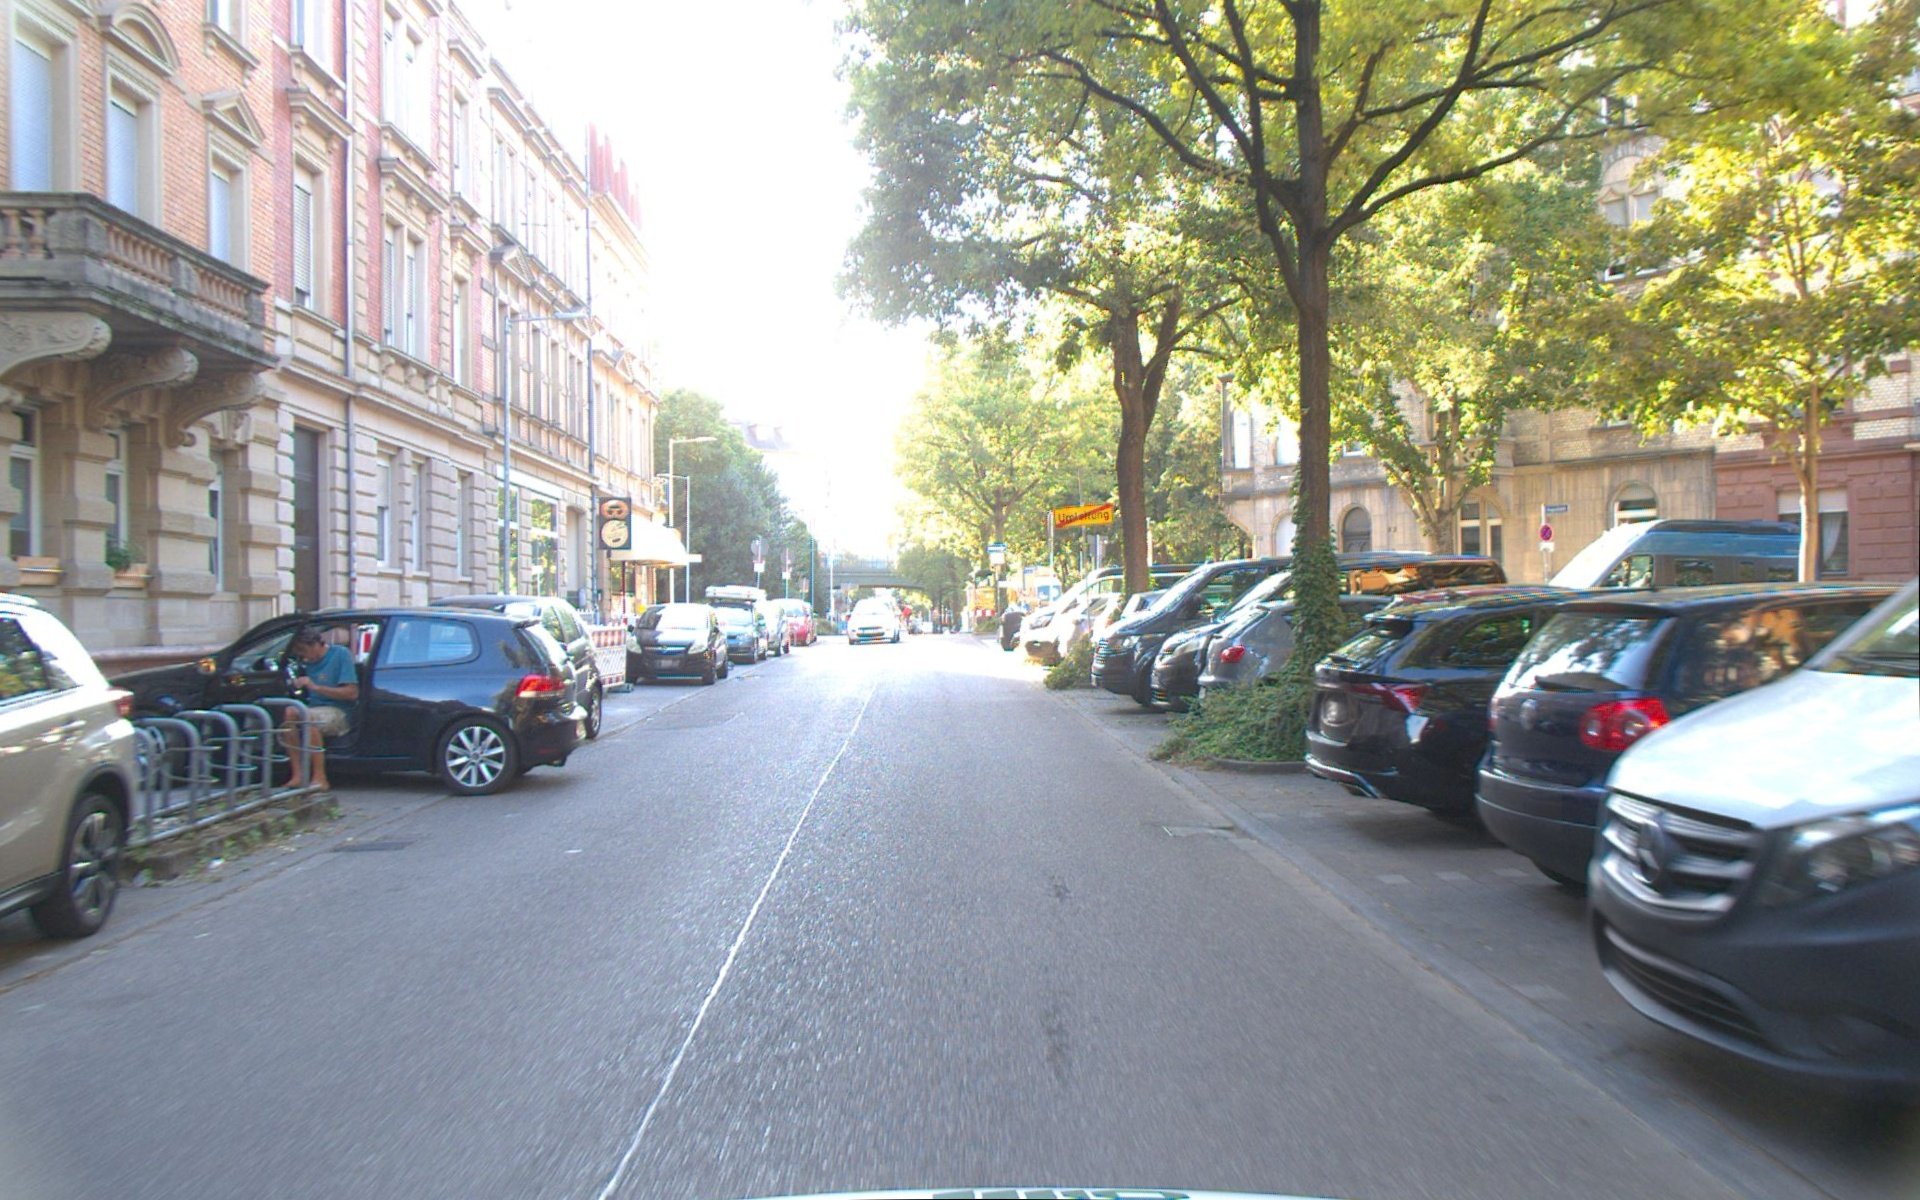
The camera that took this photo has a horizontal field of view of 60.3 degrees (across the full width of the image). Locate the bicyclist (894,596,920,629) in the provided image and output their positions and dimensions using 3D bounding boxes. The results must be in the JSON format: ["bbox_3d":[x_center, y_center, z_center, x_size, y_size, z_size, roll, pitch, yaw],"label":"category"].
[{"bbox_3d":[-2.250,0.523,70.045,0.791,1.407,0.979,0,0,-21],"label":"bicyclist"}]

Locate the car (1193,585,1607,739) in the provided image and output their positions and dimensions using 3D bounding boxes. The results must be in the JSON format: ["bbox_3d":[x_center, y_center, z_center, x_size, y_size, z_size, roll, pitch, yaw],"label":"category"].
[{"bbox_3d":[4.523,0.623,17.492,3.903,1.473,1.891,-1,0,3],"label":"car"}]

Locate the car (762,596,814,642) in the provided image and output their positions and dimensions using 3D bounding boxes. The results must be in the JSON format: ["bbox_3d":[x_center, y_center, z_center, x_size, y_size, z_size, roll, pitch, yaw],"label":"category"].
[{"bbox_3d":[-5.957,0.651,57.623,1.636,1.557,3.997,0,0,-4],"label":"car"}]

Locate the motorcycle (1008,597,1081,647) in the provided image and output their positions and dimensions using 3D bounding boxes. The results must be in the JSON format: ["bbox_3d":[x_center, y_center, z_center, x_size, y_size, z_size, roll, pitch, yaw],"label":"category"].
[{"bbox_3d":[2.380,0.615,46.690,1.975,1.350,0.620,-1,0,-6],"label":"motorcycle"}]

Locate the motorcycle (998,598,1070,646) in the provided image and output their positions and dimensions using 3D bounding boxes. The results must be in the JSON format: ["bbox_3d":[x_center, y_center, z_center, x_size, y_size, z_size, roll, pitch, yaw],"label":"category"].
[{"bbox_3d":[2.161,0.639,48.590,1.983,1.307,0.903,-3,0,-3],"label":"motorcycle"}]

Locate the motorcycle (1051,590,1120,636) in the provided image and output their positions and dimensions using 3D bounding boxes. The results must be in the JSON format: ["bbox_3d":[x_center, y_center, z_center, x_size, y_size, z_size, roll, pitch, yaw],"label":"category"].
[{"bbox_3d":[4.295,0.446,56.675,2.239,1.558,0.754,0,-1,-8],"label":"motorcycle"}]

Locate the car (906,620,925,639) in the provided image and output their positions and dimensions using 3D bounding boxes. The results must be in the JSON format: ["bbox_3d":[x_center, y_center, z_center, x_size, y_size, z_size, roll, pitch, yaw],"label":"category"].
[{"bbox_3d":[-4.145,2.727,153.746,1.739,1.637,4.400,-2,0,-2],"label":"car"}]

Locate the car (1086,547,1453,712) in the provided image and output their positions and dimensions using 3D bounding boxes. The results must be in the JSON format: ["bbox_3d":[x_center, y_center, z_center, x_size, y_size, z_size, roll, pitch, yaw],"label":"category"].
[{"bbox_3d":[4.107,0.371,22.434,4.524,2.049,1.998,-1,0,-4],"label":"car"}]

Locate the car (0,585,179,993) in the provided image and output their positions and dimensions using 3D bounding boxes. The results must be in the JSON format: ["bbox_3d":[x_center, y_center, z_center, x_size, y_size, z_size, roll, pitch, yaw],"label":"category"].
[{"bbox_3d":[-4.573,0.739,6.241,1.615,1.602,4.044,2,0,-6],"label":"car"}]

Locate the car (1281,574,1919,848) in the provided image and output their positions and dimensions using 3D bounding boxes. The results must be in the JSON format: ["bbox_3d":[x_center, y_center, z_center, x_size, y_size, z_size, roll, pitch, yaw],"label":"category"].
[{"bbox_3d":[4.375,0.620,10.439,4.281,1.481,1.933,-1,0,-1],"label":"car"}]

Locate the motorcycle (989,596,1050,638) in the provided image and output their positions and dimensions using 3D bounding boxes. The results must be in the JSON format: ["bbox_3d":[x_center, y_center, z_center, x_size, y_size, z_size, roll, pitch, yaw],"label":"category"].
[{"bbox_3d":[2.057,0.577,57.240,1.894,1.437,0.940,-1,0,27],"label":"motorcycle"}]

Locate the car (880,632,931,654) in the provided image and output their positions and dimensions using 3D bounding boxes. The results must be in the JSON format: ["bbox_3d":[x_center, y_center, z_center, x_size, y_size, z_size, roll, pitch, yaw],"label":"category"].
[{"bbox_3d":[-4.656,3.674,141.384,4.301,1.816,1.915,1,-3,-4],"label":"car"}]

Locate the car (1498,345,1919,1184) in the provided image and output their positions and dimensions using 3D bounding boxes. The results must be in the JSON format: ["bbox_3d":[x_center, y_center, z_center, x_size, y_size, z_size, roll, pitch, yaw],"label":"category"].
[{"bbox_3d":[4.517,0.401,5.057,4.989,1.974,2.157,-1,-3,-1],"label":"car"}]

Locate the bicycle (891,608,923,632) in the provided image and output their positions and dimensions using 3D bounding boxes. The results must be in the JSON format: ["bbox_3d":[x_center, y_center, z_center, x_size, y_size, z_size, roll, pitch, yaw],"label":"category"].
[{"bbox_3d":[-2.247,0.827,70.010,0.791,0.985,2.097,0,0,-19],"label":"bicycle"}]

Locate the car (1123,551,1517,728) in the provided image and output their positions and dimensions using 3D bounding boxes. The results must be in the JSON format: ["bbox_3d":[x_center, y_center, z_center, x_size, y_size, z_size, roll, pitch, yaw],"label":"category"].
[{"bbox_3d":[4.195,0.438,19.684,4.185,1.918,1.937,-1,0,-5],"label":"car"}]

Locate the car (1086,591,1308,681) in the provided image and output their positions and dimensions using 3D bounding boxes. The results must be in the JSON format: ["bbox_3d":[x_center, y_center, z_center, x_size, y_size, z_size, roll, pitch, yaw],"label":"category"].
[{"bbox_3d":[4.298,0.633,30.362,3.763,1.542,1.847,-1,0,-2],"label":"car"}]

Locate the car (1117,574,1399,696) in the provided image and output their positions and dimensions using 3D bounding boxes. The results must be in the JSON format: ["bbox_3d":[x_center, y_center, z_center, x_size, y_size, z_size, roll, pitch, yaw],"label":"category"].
[{"bbox_3d":[4.467,0.505,25.191,3.907,1.722,1.799,-1,0,-3],"label":"car"}]

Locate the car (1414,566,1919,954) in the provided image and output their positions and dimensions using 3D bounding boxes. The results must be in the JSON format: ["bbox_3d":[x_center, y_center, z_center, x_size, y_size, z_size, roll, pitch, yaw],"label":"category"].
[{"bbox_3d":[4.411,0.607,7.912,3.914,1.500,1.778,-2,0,-9],"label":"car"}]

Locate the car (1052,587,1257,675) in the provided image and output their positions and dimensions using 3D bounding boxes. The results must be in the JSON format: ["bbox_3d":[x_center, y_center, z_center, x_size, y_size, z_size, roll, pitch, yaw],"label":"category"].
[{"bbox_3d":[3.770,0.587,32.498,3.763,1.623,1.740,-1,0,-2],"label":"car"}]

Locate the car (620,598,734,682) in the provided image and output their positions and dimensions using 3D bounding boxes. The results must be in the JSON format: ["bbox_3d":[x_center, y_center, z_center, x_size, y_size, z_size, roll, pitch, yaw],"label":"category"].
[{"bbox_3d":[-5.389,0.720,31.911,1.669,1.479,4.018,-1,0,-3],"label":"car"}]

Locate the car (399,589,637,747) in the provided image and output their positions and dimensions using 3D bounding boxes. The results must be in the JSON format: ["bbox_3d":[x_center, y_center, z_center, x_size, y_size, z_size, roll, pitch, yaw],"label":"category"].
[{"bbox_3d":[-4.939,0.690,19.002,1.706,1.594,3.894,-1,0,-1],"label":"car"}]

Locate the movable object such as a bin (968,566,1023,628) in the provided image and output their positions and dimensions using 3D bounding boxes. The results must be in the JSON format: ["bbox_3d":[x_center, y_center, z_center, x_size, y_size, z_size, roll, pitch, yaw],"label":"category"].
[{"bbox_3d":[1.656,-0.123,75.479,1.951,2.747,3.113,-1,-1,12],"label":"movable object such as a bin"}]

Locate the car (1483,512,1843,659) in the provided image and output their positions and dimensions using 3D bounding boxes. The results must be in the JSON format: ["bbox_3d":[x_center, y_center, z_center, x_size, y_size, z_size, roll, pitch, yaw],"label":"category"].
[{"bbox_3d":[13.032,-0.278,30.857,5.783,2.582,2.376,-1,0,-8],"label":"car"}]

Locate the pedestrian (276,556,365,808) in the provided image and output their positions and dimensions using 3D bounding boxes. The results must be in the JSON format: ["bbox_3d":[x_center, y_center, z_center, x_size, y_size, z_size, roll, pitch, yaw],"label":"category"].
[{"bbox_3d":[-5.048,0.626,13.079,0.581,1.920,0.637,-1,0,-17],"label":"pedestrian"}]

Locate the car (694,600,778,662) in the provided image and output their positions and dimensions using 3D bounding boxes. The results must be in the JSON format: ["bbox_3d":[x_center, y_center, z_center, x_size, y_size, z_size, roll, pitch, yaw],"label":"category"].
[{"bbox_3d":[-5.643,0.739,42.079,1.729,1.462,4.298,-1,0,-3],"label":"car"}]

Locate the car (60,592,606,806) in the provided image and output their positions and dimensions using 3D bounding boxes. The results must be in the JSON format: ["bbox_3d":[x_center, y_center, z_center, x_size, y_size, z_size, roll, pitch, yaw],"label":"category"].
[{"bbox_3d":[-5.072,0.757,13.884,3.911,1.556,1.823,-1,0,-8],"label":"car"}]

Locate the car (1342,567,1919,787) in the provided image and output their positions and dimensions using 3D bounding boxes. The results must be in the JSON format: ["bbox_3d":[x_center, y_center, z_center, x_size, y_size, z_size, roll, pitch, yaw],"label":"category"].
[{"bbox_3d":[5.256,0.560,13.090,3.998,1.524,1.843,-1,0,-1],"label":"car"}]

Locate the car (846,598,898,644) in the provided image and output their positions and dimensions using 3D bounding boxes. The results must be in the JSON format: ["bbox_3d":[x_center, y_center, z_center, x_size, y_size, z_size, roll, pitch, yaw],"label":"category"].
[{"bbox_3d":[-3.063,0.700,58.253,1.713,1.535,3.999,-1,0,-2],"label":"car"}]

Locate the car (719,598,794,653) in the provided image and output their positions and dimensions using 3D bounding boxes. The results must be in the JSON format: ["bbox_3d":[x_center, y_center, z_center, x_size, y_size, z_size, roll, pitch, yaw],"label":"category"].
[{"bbox_3d":[-5.776,0.706,47.294,1.690,1.462,3.995,1,0,-1],"label":"car"}]

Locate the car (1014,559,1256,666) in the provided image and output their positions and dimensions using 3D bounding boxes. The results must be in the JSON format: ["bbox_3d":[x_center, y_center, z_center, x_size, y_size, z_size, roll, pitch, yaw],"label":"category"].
[{"bbox_3d":[3.662,0.244,35.248,4.873,2.132,2.105,-1,0,-2],"label":"car"}]
